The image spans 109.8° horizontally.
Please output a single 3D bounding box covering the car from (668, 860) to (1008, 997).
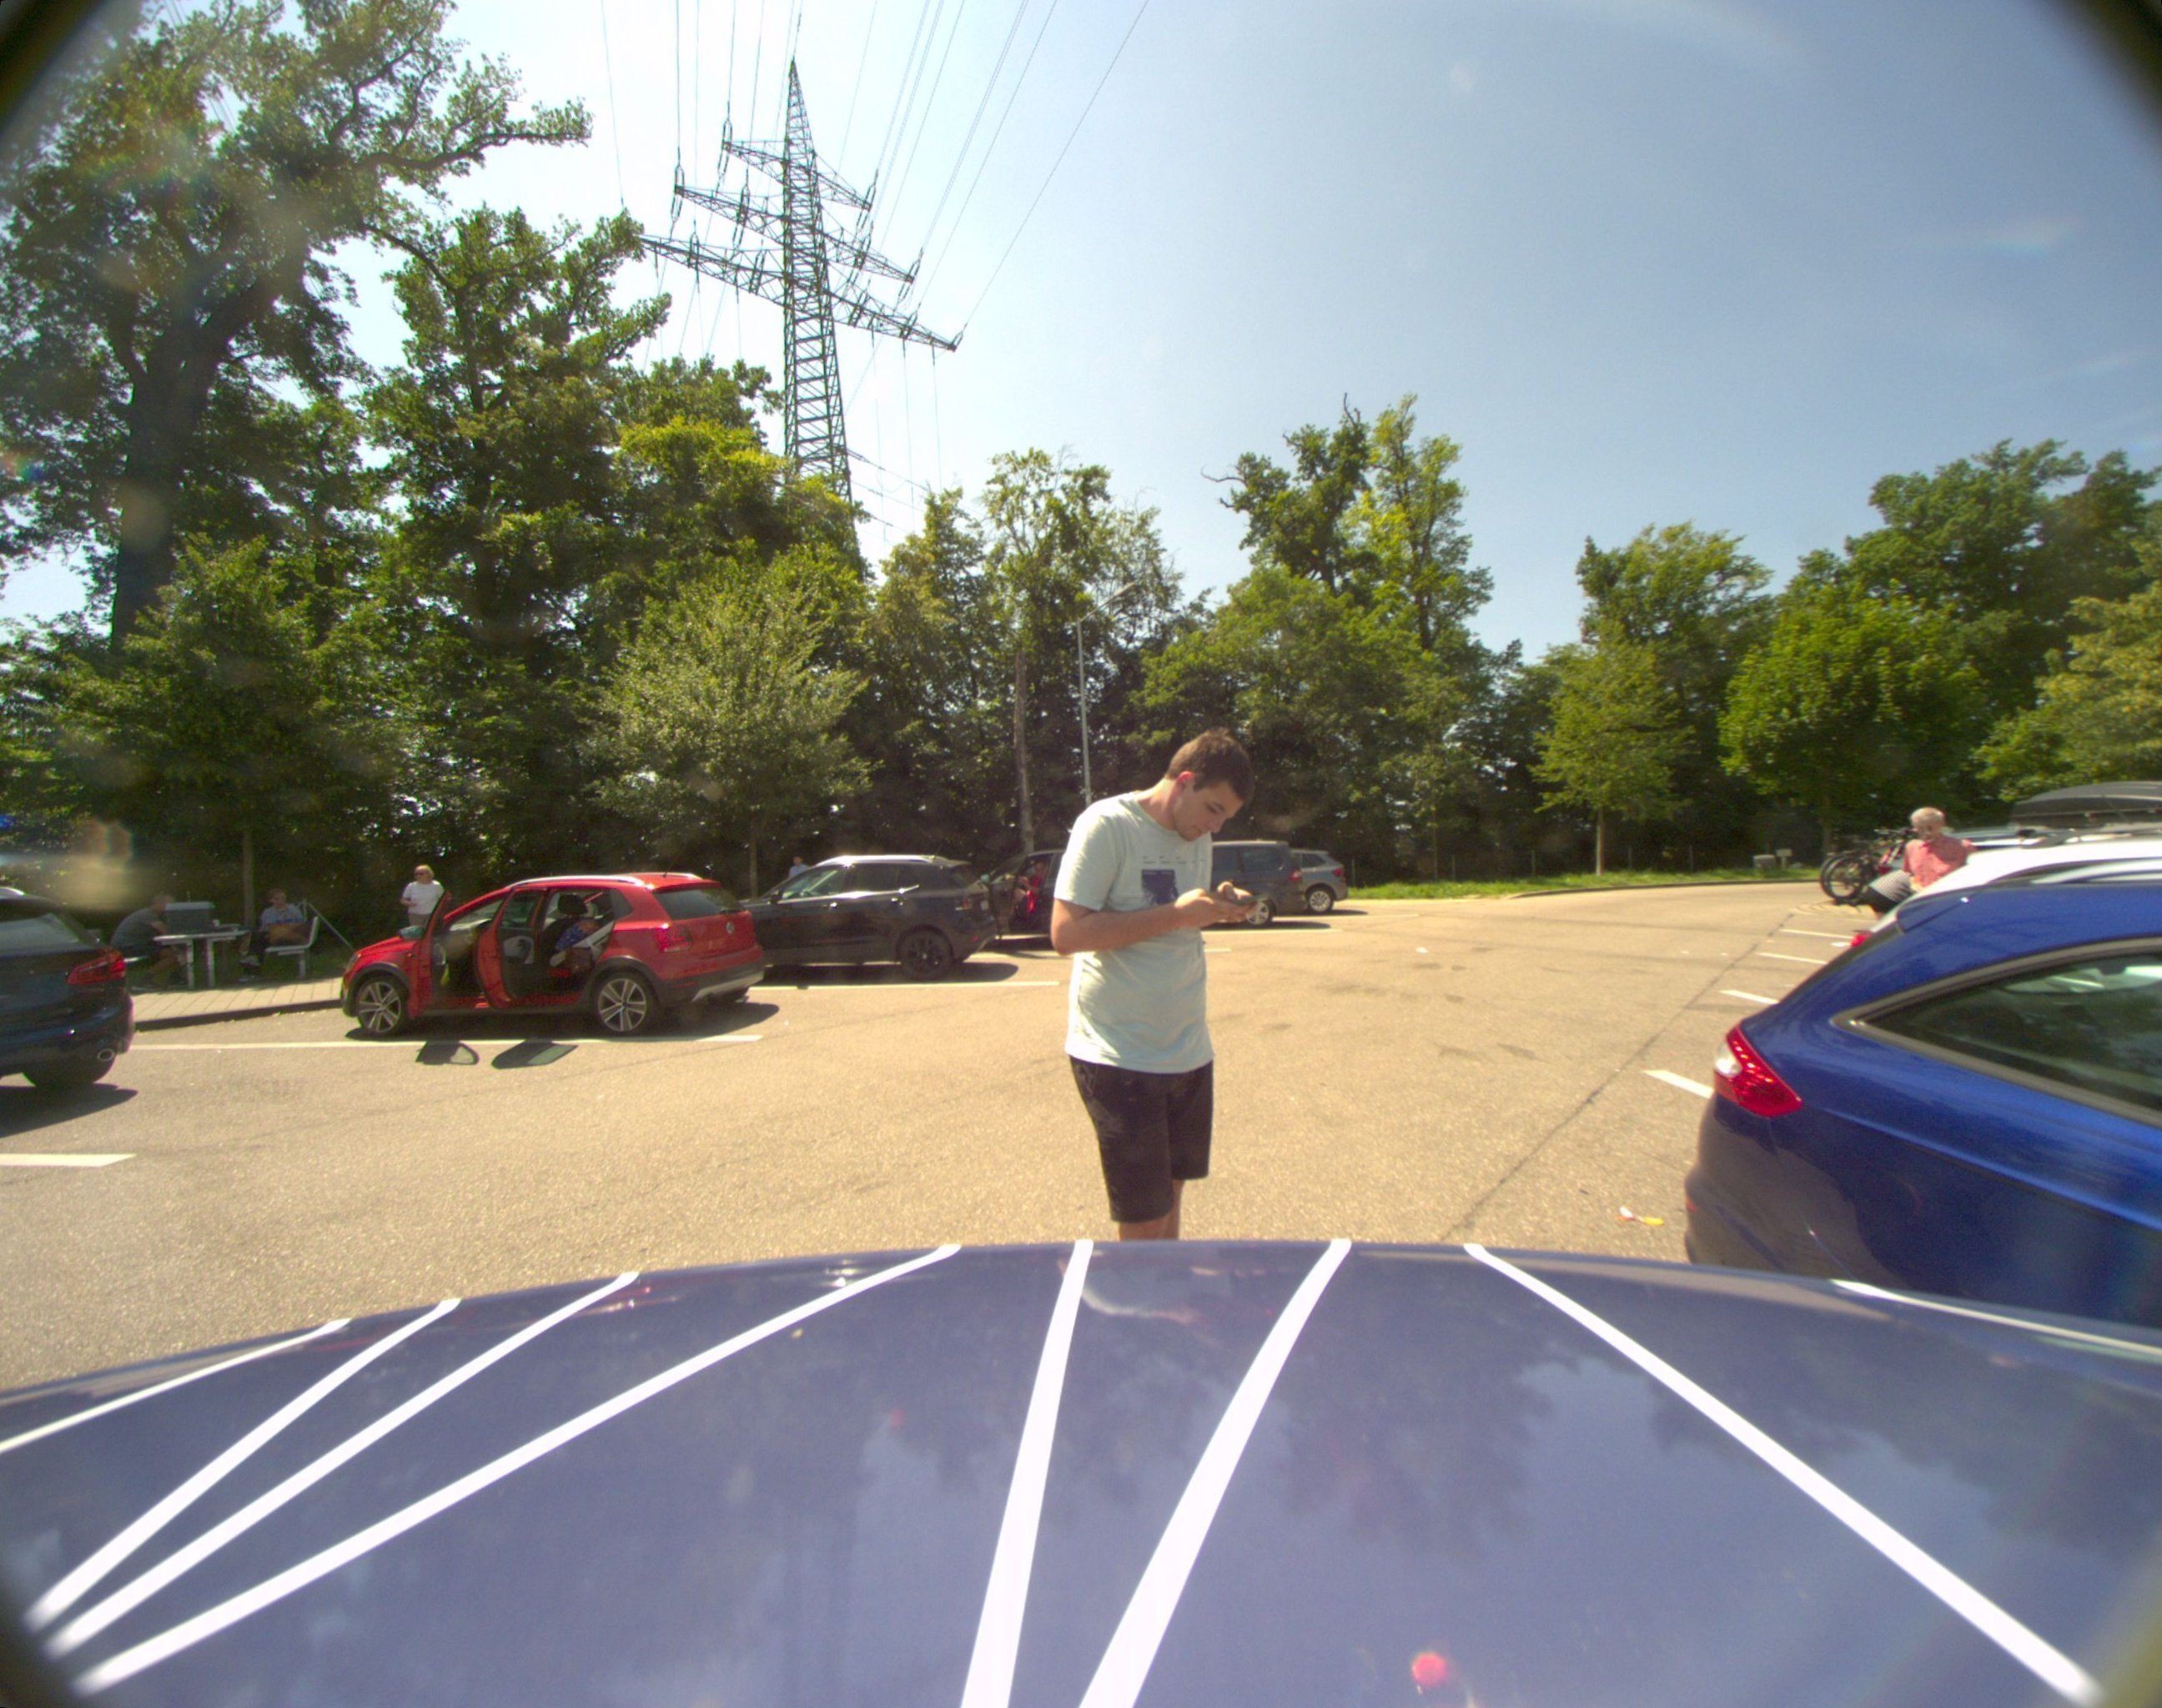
[{"bbox_3d":[-3.148,0.943,10.401,3.966,1.582,1.841,-2,0,3],"label":"car"}]

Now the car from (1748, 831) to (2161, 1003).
[{"bbox_3d":[10.061,0.534,8.177,1.779,1.456,4.470,-2,-1,0],"label":"car"}]

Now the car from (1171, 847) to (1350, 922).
[{"bbox_3d":[4.178,0.716,18.222,3.964,1.577,1.781,-2,0,7],"label":"car"}]

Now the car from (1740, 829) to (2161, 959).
[{"bbox_3d":[12.363,0.477,10.961,1.779,1.456,4.470,-2,-1,0],"label":"car"}]

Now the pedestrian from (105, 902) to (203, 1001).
[{"bbox_3d":[-12.684,1.312,10.408,0.652,1.262,0.672,-2,0,24],"label":"pedestrian"}]

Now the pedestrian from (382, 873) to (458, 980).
[{"bbox_3d":[-10.494,1.119,12.097,0.777,1.584,0.808,-2,0,-34],"label":"pedestrian"}]

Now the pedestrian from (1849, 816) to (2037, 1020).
[{"bbox_3d":[7.214,0.514,6.402,0.672,1.592,0.759,-2,0,1],"label":"pedestrian"}]

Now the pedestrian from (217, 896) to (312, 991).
[{"bbox_3d":[-11.885,1.276,11.066,0.828,1.287,0.672,-2,0,24],"label":"pedestrian"}]

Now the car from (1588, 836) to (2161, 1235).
[{"bbox_3d":[4.851,0.660,3.654,1.779,1.456,4.470,-2,-1,0],"label":"car"}]

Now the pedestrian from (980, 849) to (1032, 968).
[{"bbox_3d":[-1.136,0.811,11.632,0.660,1.745,0.636,-2,0,1],"label":"pedestrian"}]

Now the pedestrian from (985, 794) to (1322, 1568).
[{"bbox_3d":[0.163,0.731,1.976,0.687,1.699,0.578,-2,0,1],"label":"pedestrian"}]

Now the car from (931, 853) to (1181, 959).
[{"bbox_3d":[-0.328,0.844,12.979,3.964,1.582,1.781,-2,0,8],"label":"car"}]

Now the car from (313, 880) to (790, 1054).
[{"bbox_3d":[-5.195,1.077,7.741,3.704,1.448,1.781,-2,0,7],"label":"car"}]

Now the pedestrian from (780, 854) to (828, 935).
[{"bbox_3d":[-5.678,0.813,15.607,0.715,1.584,0.809,-2,0,-7],"label":"pedestrian"}]

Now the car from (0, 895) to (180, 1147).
[{"bbox_3d":[-8.921,1.162,5.024,4.011,1.558,1.846,-2,0,6],"label":"car"}]

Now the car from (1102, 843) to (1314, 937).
[{"bbox_3d":[2.508,0.700,15.470,3.964,1.678,1.781,-2,0,7],"label":"car"}]
